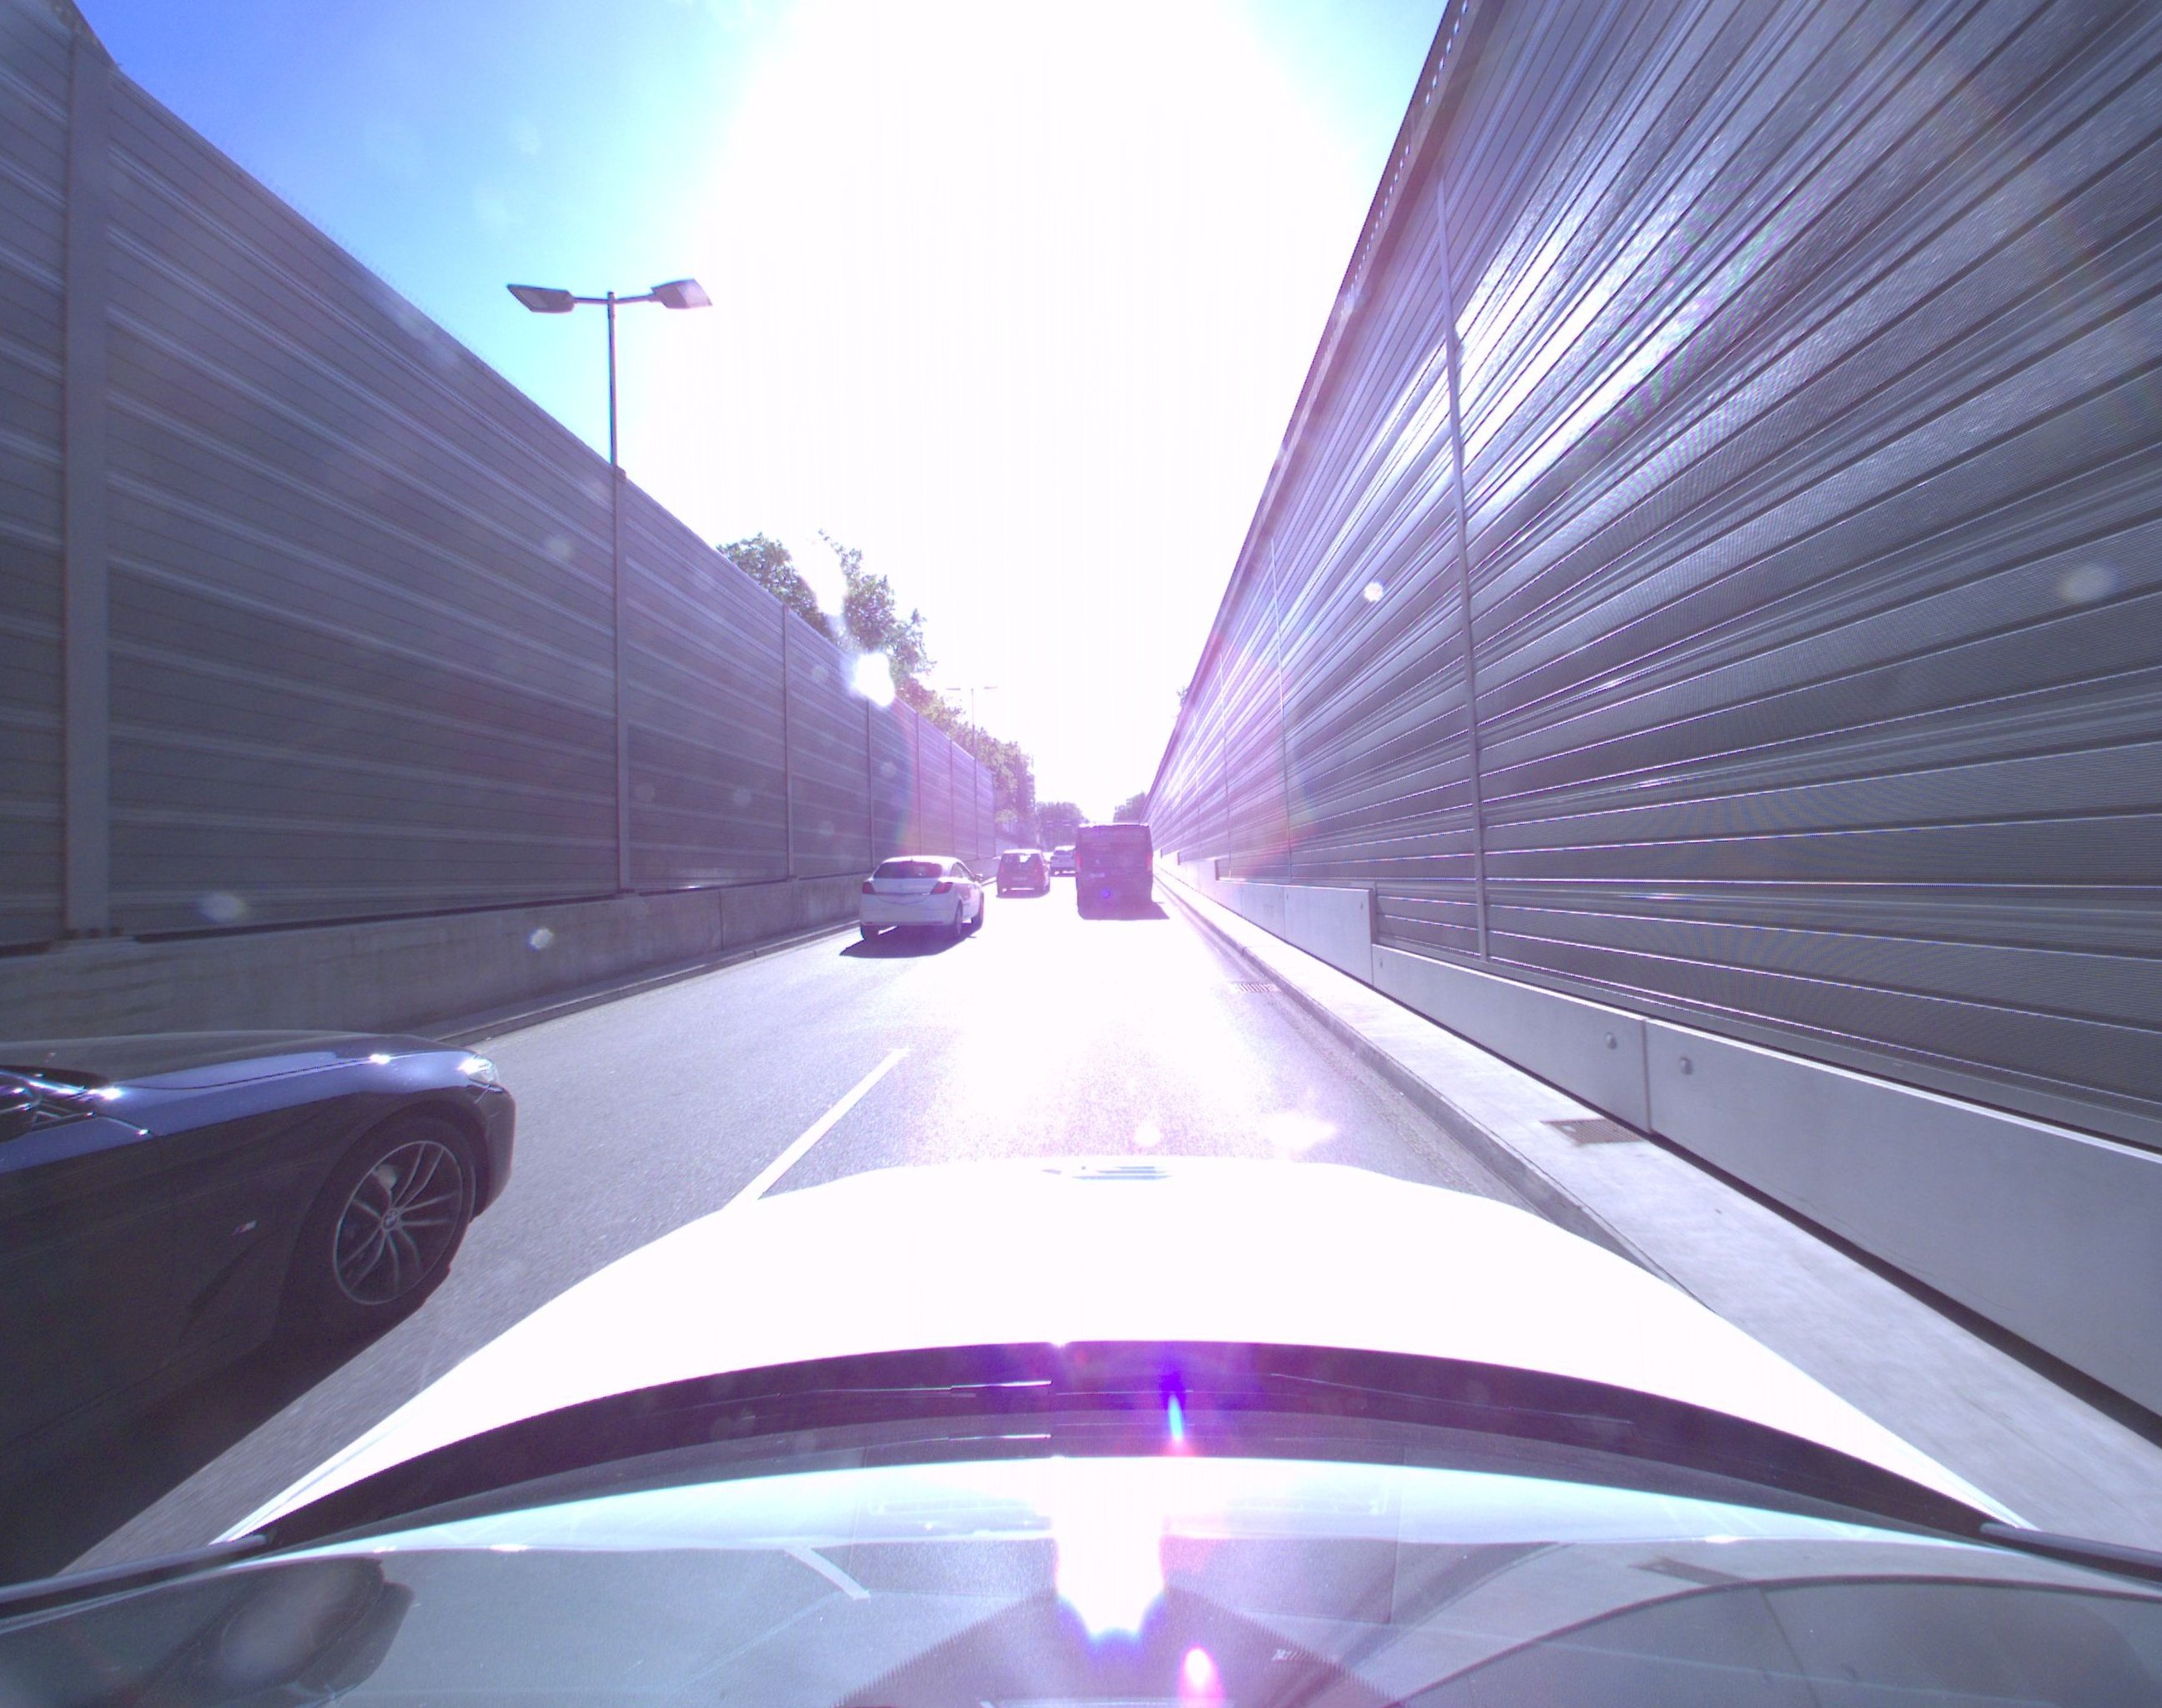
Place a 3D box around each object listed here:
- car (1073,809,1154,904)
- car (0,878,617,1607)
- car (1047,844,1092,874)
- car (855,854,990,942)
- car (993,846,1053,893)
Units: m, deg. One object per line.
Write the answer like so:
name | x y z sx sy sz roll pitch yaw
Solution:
car | 0.934 0.054 22.879 2.022 2.402 3.975 -1 0 2
car | -3.112 0.811 1.238 1.802 1.439 5.004 -1 -1 2
car | -0.567 0.208 42.842 1.882 1.474 3.998 -1 1 6
car | -2.821 0.720 15.288 1.612 1.403 3.854 -1 0 2
car | -1.945 0.490 28.234 1.682 1.483 3.321 -1 1 2
